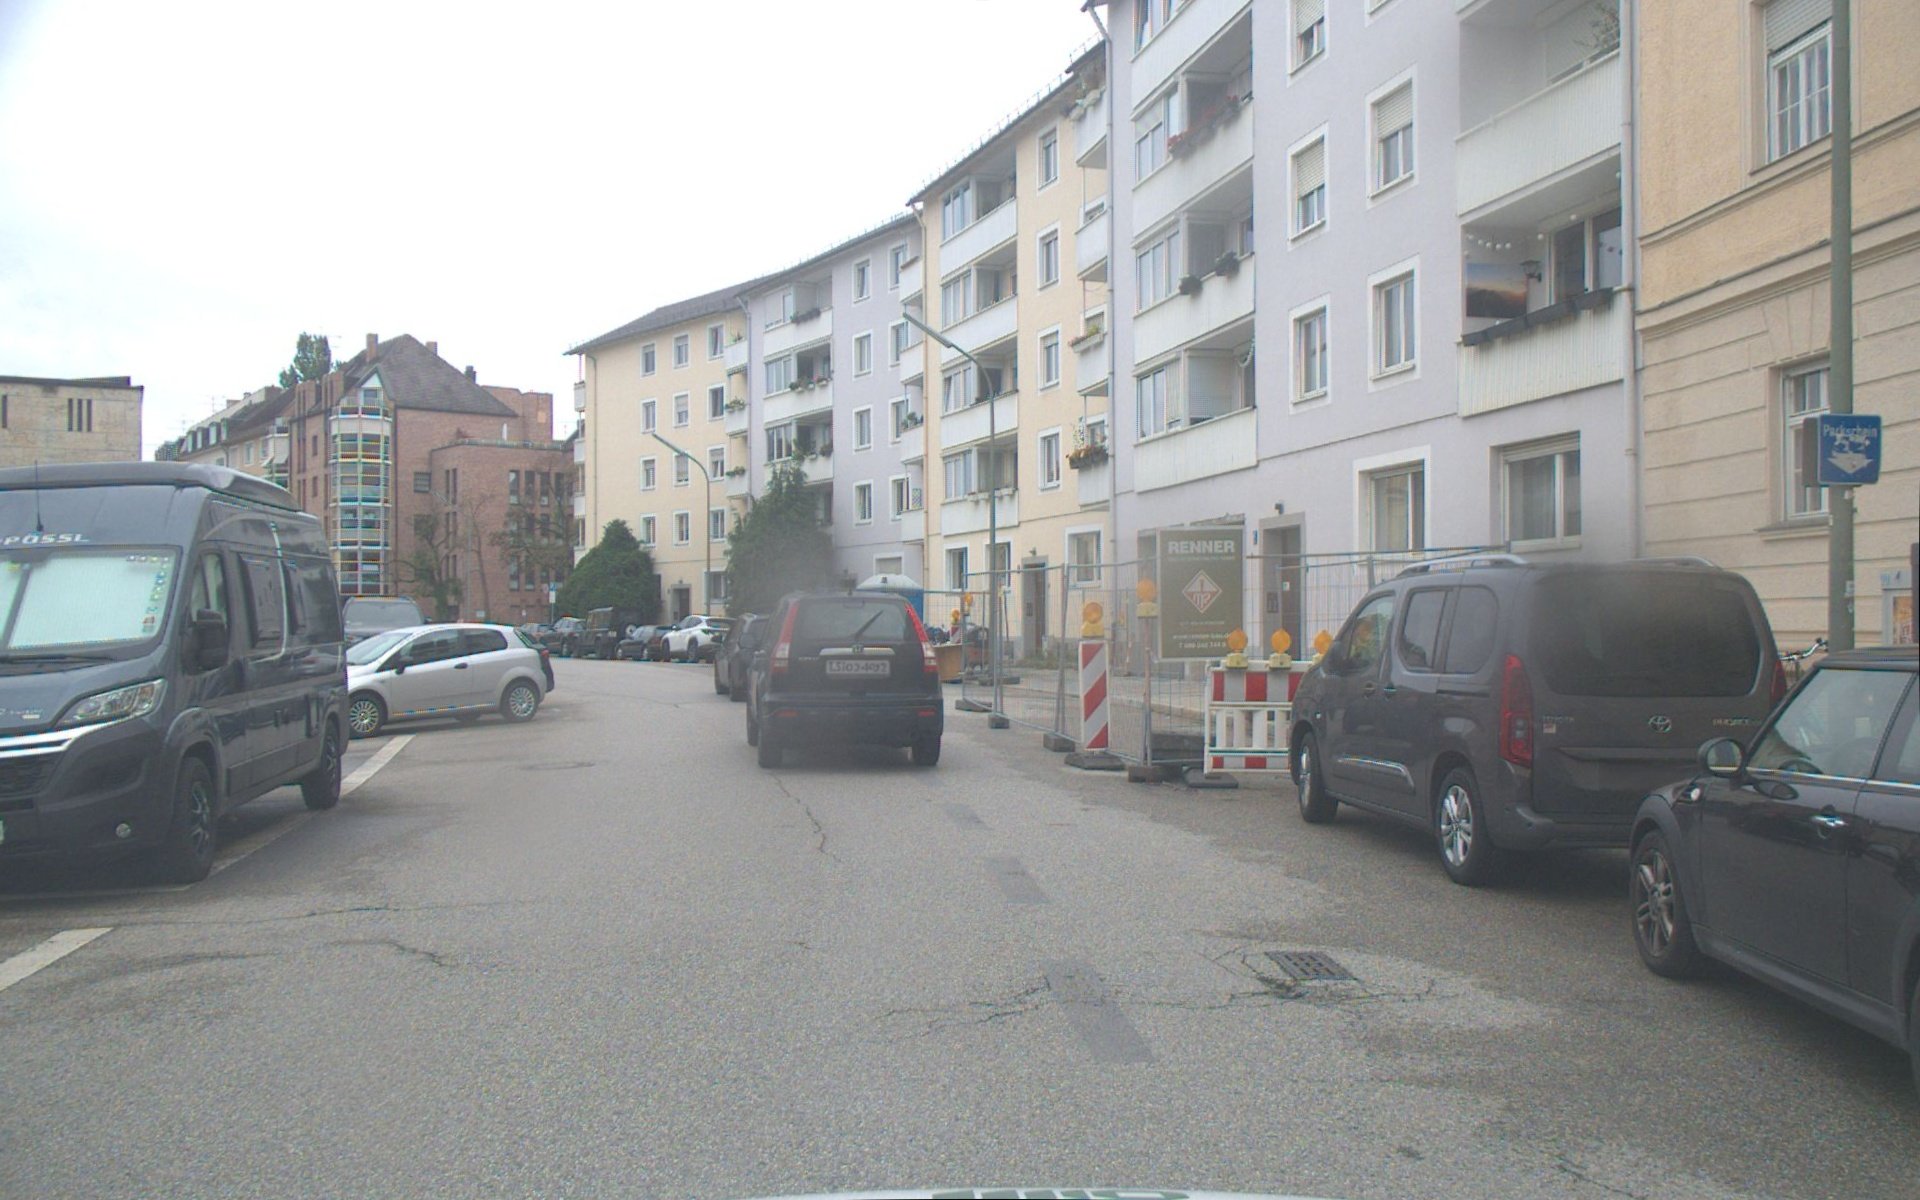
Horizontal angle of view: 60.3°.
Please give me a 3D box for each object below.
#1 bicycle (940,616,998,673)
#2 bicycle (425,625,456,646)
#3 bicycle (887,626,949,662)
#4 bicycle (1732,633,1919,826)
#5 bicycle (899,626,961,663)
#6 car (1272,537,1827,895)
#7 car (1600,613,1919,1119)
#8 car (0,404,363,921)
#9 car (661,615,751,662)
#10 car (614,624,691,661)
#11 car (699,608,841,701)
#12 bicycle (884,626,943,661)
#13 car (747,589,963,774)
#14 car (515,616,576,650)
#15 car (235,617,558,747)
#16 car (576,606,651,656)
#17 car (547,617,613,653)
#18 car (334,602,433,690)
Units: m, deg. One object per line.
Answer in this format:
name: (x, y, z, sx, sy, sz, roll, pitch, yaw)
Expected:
bicycle: (0.204, 1.120, 42.680, 0.952, 1.413, 2.555, 0, -1, -13)
bicycle: (-32.106, 2.193, 102.194, 1.734, 1.311, 0.548, 0, -1, -28)
bicycle: (-1.317, 1.387, 52.060, 1.838, 1.110, 0.642, 0, -1, -19)
bicycle: (5.532, 0.739, 10.153, 0.567, 1.032, 1.951, 0, 0, -4)
bicycle: (-0.919, 1.339, 50.440, 1.838, 1.110, 0.562, 0, -1, -19)
car: (3.487, 0.627, 10.732, 1.743, 1.838, 4.271, 1, -1, -5)
car: (3.707, 0.800, 5.768, 1.672, 1.473, 3.831, 1, -1, 4)
car: (-5.799, 0.346, 11.505, 2.125, 2.688, 6.001, -2, 0, -11)
car: (-8.753, 1.286, 56.796, 1.707, 1.509, 3.958, 1, 0, -31)
car: (-11.349, 1.538, 60.981, 1.680, 1.258, 3.564, 1, 0, -31)
car: (-3.421, 0.909, 29.182, 1.654, 1.507, 4.063, 0, -1, -19)
bicycle: (-1.522, 1.405, 54.036, 1.838, 1.110, 0.642, 0, -1, -19)
car: (-1.207, 0.761, 17.128, 1.856, 1.676, 3.982, 0, -1, -9)
car: (-18.180, 1.447, 72.464, 1.680, 1.413, 3.564, 1, 0, -31)
car: (-8.009, 1.140, 23.793, 1.654, 1.507, 4.063, -6, -2, 42)
car: (-13.619, 1.185, 64.900, 1.707, 1.911, 3.958, 1, 0, -31)
car: (-15.831, 1.450, 68.754, 1.680, 1.413, 3.564, 1, 0, -31)
car: (-12.326, 0.938, 35.221, 1.657, 1.737, 4.479, 0, -1, -24)
